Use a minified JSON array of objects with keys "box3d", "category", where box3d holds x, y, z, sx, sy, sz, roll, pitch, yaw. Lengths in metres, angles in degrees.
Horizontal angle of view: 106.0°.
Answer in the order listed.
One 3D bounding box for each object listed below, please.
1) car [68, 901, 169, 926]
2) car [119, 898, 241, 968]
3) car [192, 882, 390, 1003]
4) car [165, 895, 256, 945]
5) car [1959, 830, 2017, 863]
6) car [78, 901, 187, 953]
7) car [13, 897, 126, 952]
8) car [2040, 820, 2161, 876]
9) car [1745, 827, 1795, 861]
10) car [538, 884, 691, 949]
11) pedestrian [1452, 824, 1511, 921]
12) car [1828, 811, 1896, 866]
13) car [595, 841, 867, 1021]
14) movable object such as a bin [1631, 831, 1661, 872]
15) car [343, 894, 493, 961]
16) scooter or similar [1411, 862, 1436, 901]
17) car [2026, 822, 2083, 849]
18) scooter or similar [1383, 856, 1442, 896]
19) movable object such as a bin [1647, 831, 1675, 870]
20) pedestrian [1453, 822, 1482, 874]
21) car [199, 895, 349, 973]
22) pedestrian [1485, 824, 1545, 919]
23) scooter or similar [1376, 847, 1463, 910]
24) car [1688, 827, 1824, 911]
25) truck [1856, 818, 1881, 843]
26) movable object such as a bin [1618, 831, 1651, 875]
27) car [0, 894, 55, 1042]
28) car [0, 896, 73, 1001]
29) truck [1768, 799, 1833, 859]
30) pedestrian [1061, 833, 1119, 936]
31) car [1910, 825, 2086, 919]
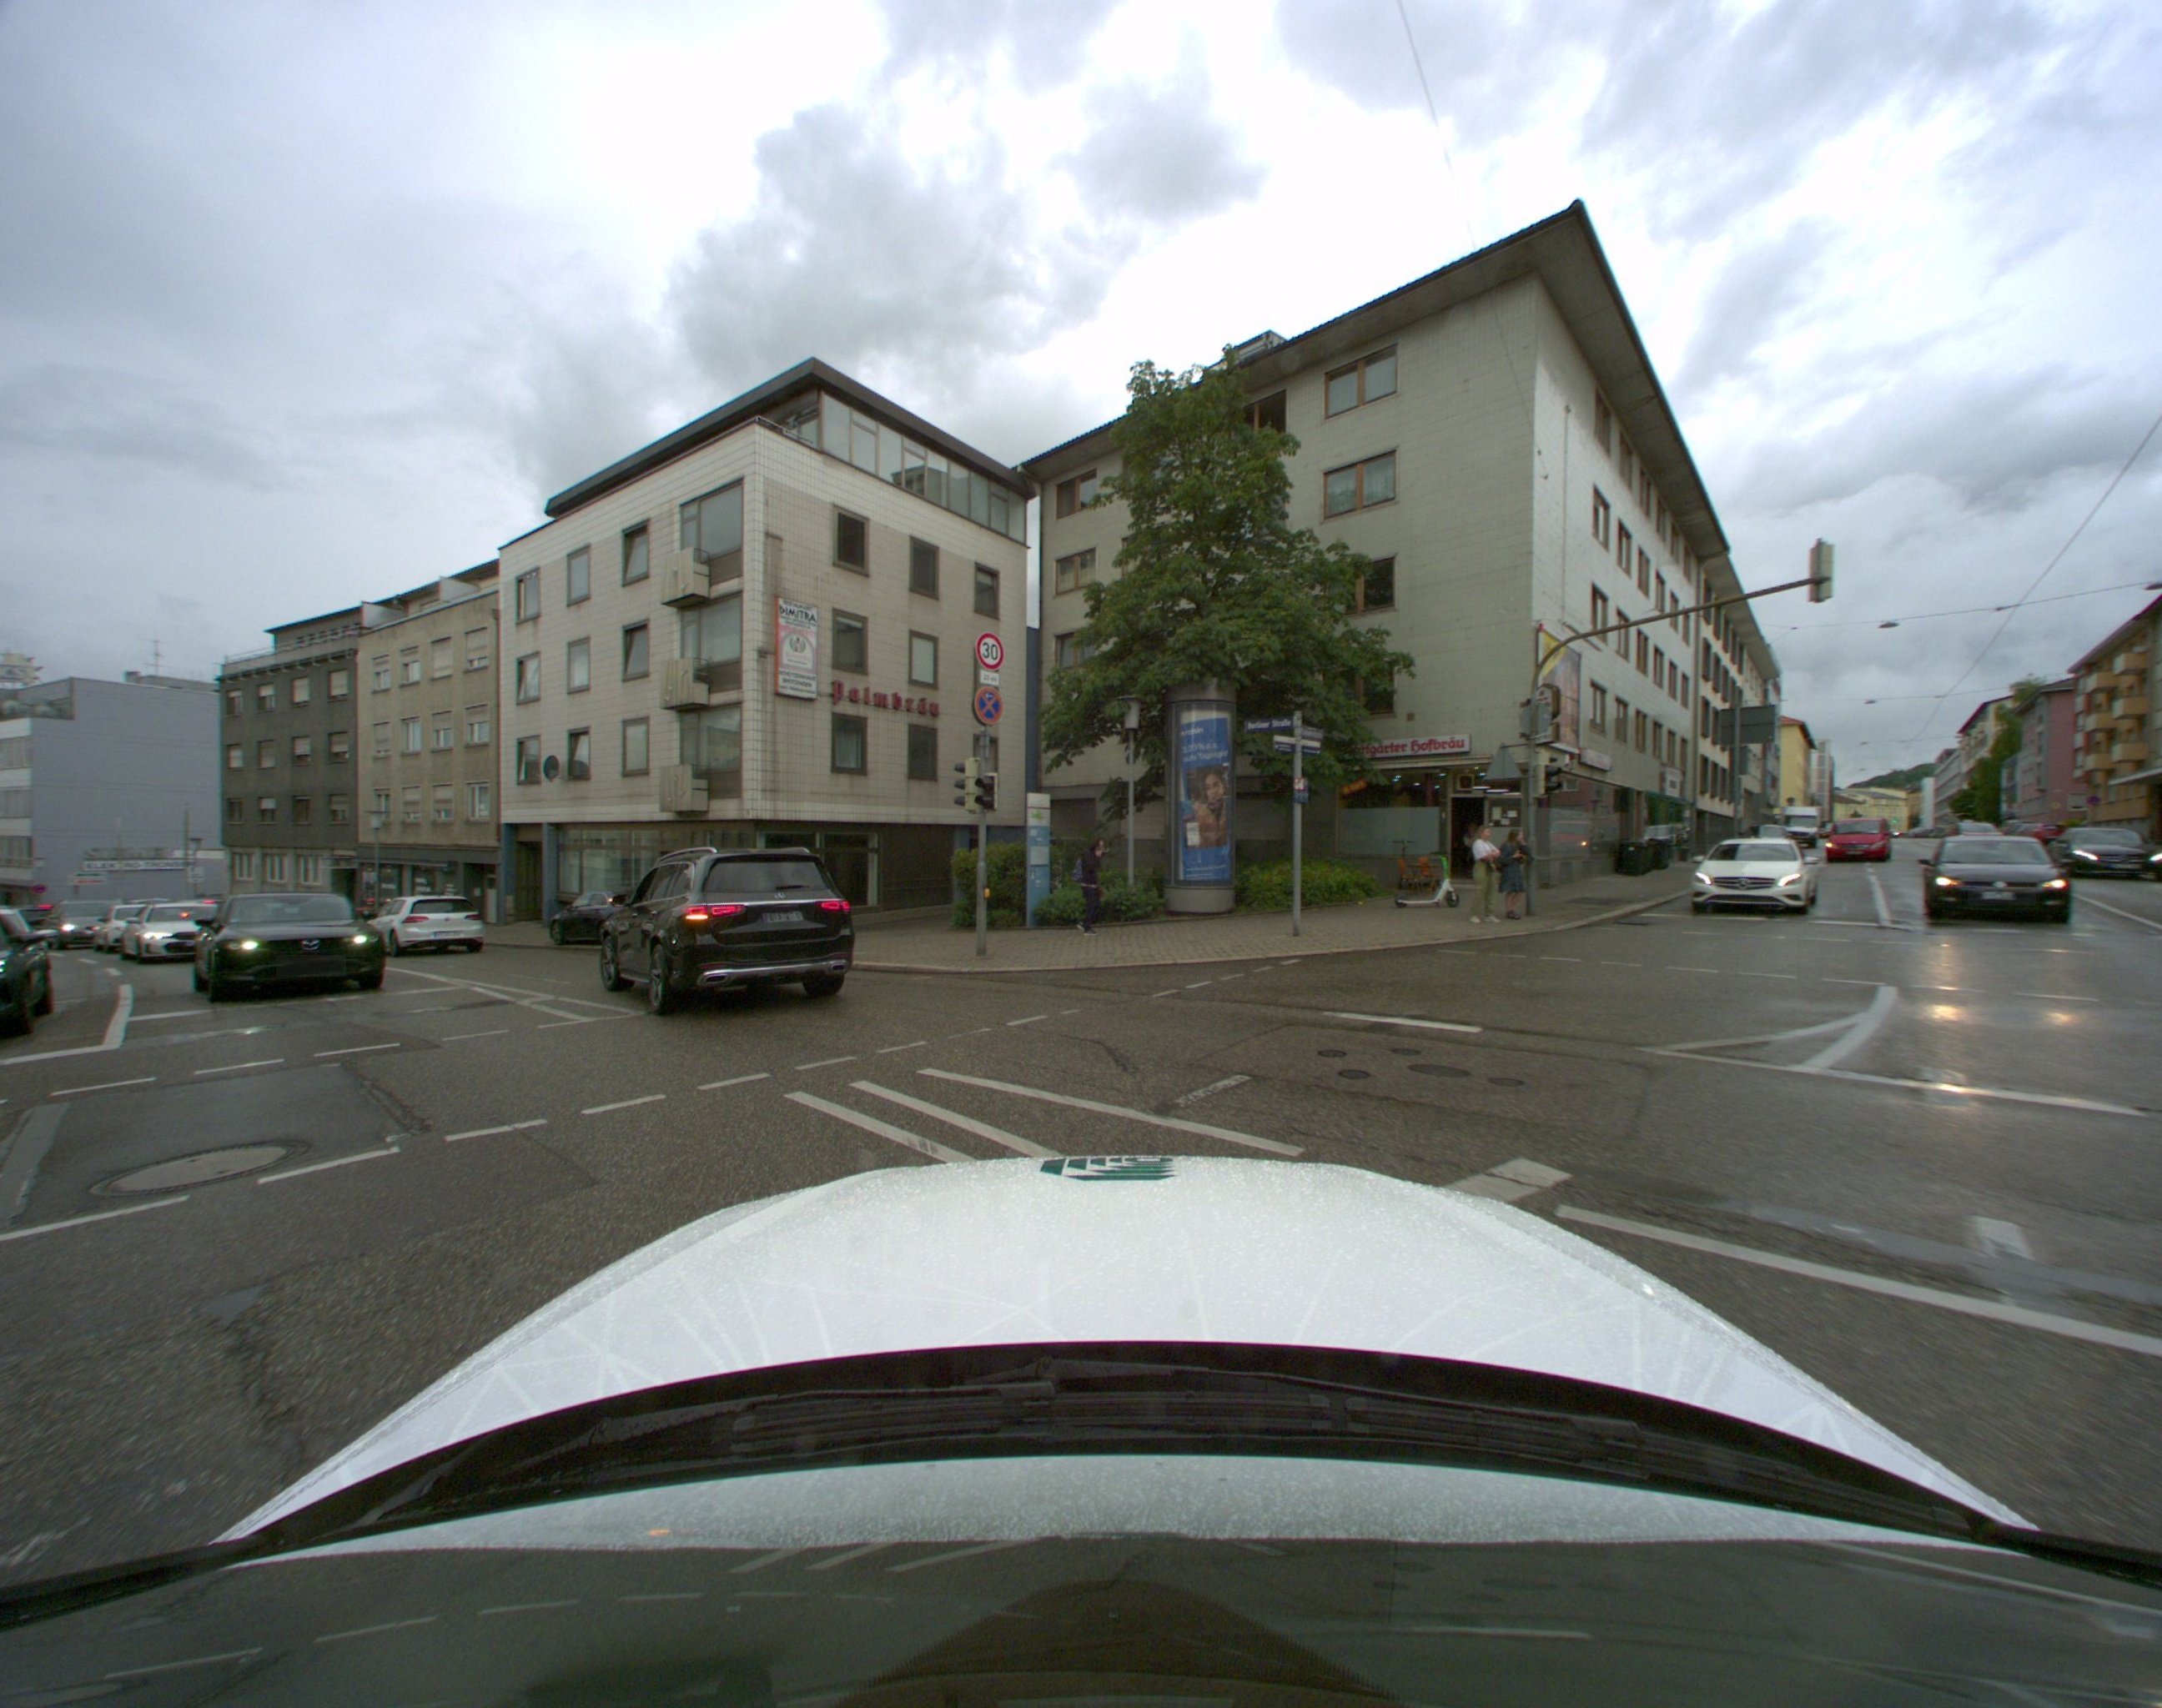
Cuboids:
[{"box3d":[-64.330,3.969,54.524,1.718,1.495,4.008,-3,-3,8],"category":"car"},{"box3d":[-23.219,1.979,20.944,4.502,1.521,1.824,-4,-2,39],"category":"car"},{"box3d":[-12.526,1.311,12.821,4.322,1.537,1.836,-4,-3,40],"category":"car"},{"box3d":[-37.271,2.759,34.865,3.530,1.780,1.770,2,0,28],"category":"car"},{"box3d":[48.623,-0.374,43.704,1.827,1.674,4.023,0,-1,45],"category":"car"},{"box3d":[-29.428,2.233,25.246,4.235,1.480,1.714,-3,-4,34],"category":"car"},{"box3d":[-34.581,2.385,27.818,4.502,1.705,1.824,-3,-4,32],"category":"car"},{"box3d":[29.766,-0.142,23.805,1.827,1.489,4.023,0,-1,44],"category":"car"},{"box3d":[34.246,-0.466,40.457,1.707,1.603,4.024,0,-1,43],"category":"car"},{"box3d":[-12.112,1.596,21.056,4.321,1.392,1.781,-4,0,36],"category":"car"},{"box3d":[7.074,0.308,14.430,0.704,1.646,0.761,0,3,8],"category":"pedestrian"},{"box3d":[34.189,-0.606,35.627,2.046,2.241,4.646,-1,-1,45],"category":"car"},{"box3d":[-4.674,0.872,10.384,2.037,1.740,4.692,0,-3,-38],"category":"car"},{"box3d":[18.534,-0.093,26.713,0.691,1.315,0.787,2,0,43],"category":"movable object such as a bin"},{"box3d":[-17.094,1.851,20.929,4.321,1.462,1.848,-4,-1,35],"category":"car"},{"box3d":[7.732,0.603,18.400,0.454,0.842,1.329,2,0,21],"category":"scooter or similar"},{"box3d":[63.404,-1.192,53.095,5.183,1.562,1.998,2,0,-44],"category":"car"},{"box3d":[7.498,0.478,18.488,0.548,0.842,1.461,2,0,-9],"category":"scooter or similar"},{"box3d":[20.426,-0.118,28.684,0.691,1.315,0.787,2,0,43],"category":"movable object such as a bin"},{"box3d":[10.449,-0.160,22.012,0.514,1.400,0.582,2,0,40],"category":"pedestrian"},{"box3d":[-17.547,1.674,17.643,4.322,1.415,1.824,-4,-2,39],"category":"car"},{"box3d":[7.864,0.296,14.774,0.704,1.646,0.761,0,3,8],"category":"pedestrian"},{"box3d":[6.882,0.492,16.608,1.545,1.190,0.503,2,0,15],"category":"scooter or similar"},{"box3d":[13.922,0.282,16.720,1.827,1.513,4.024,-1,-1,44],"category":"car"},{"box3d":[134.007,-3.910,138.495,8.190,3.832,2.782,2,0,-44],"category":"truck"},{"box3d":[17.237,-0.024,25.356,0.691,1.315,0.787,2,0,43],"category":"movable object such as a bin"},{"box3d":[-13.475,1.274,9.432,4.322,1.478,1.836,-1,-1,40],"category":"car"},{"box3d":[-18.945,1.584,14.061,4.322,1.543,1.824,-1,-1,40],"category":"car"},{"box3d":[51.459,-1.714,58.174,8.190,3.832,2.782,2,0,-44],"category":"truck"},{"box3d":[0.152,0.529,14.996,0.754,1.817,0.912,-2,1,-18],"category":"pedestrian"},{"box3d":[16.671,0.301,15.007,1.827,1.489,4.024,-1,-1,44],"category":"car"}]
